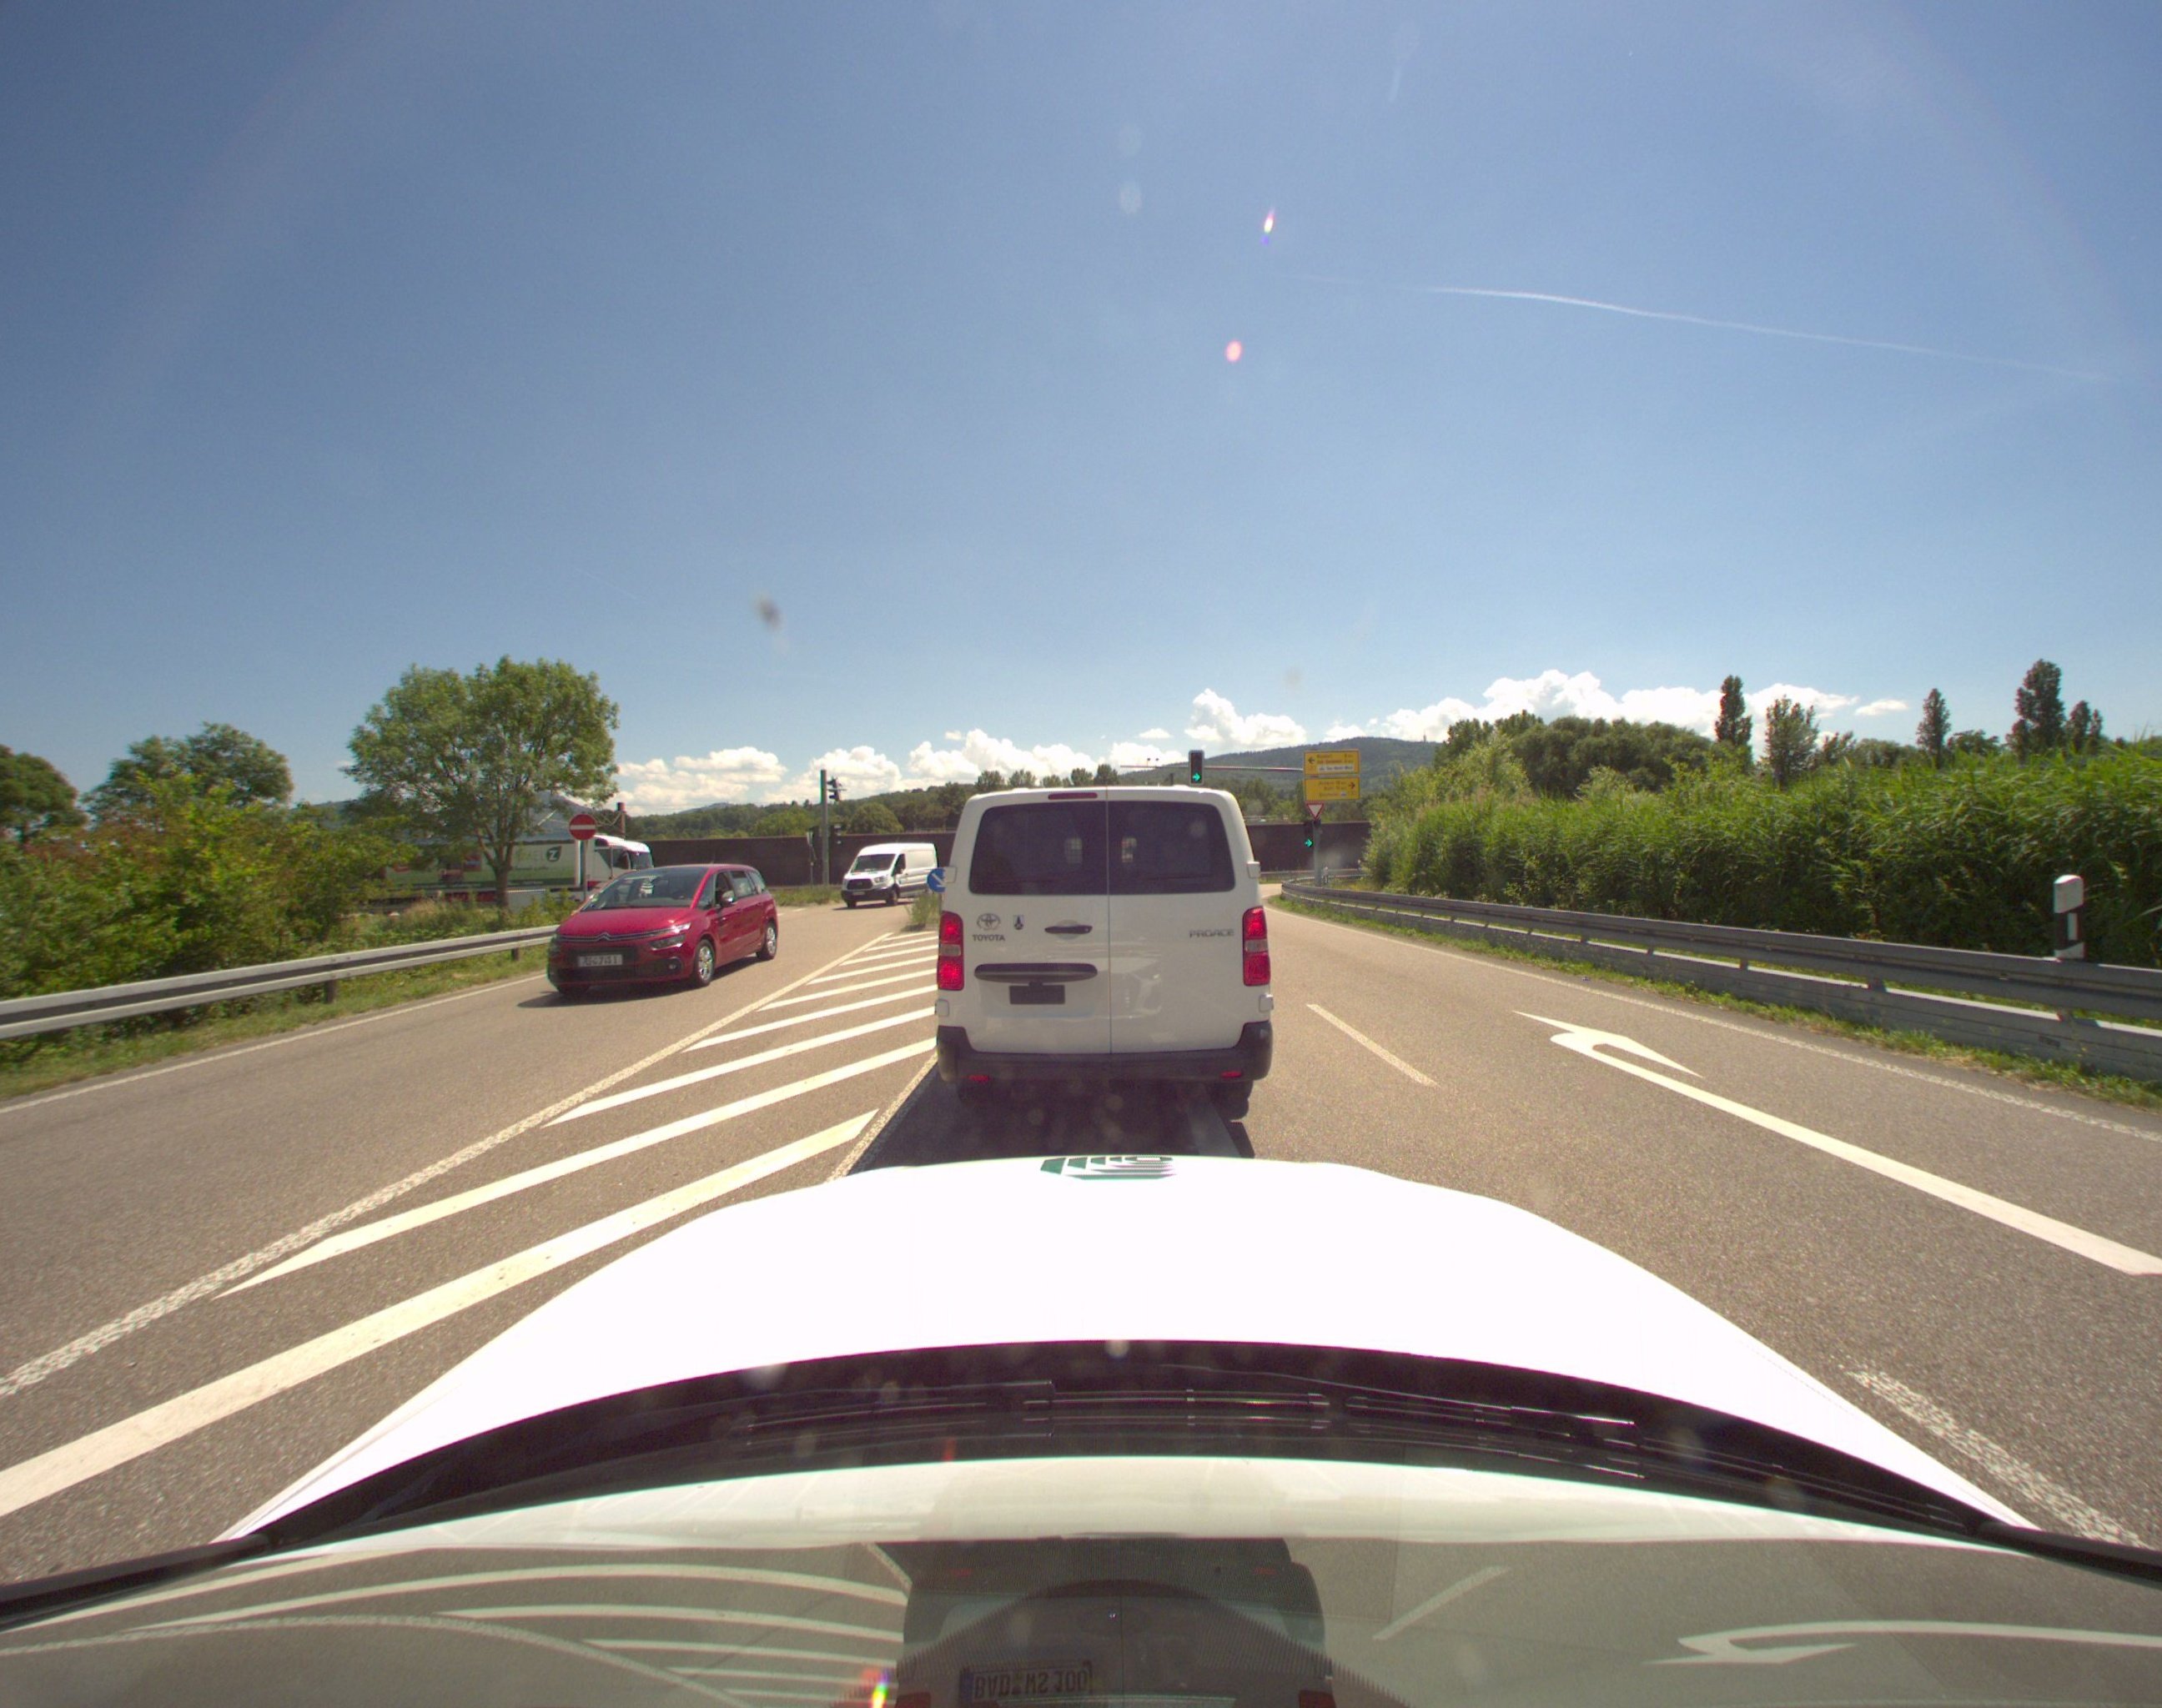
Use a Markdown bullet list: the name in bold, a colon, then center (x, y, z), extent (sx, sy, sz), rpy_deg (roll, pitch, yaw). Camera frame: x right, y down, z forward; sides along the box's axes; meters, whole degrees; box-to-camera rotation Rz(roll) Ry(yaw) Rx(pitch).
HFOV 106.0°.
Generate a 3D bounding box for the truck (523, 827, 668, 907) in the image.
- **truck**: center (-25.505, 0.671, 43.038), extent (5.746, 3.954, 3.062), rpy_deg (-1, -1, 0)

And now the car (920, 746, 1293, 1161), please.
- **car**: center (0.185, 0.506, 6.028), extent (1.808, 2.017, 4.001), rpy_deg (-1, -1, 2)

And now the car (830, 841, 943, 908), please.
- **car**: center (-7.674, 0.743, 32.881), extent (1.979, 2.416, 5.611), rpy_deg (-3, 0, 14)

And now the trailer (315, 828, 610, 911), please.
- **trailer**: center (-32.361, 0.798, 42.989), extent (13.098, 3.954, 3.062), rpy_deg (-1, -1, 0)

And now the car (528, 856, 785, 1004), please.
- **car**: center (-5.843, 0.932, 11.867), extent (1.733, 1.685, 4.202), rpy_deg (-3, -1, -4)
